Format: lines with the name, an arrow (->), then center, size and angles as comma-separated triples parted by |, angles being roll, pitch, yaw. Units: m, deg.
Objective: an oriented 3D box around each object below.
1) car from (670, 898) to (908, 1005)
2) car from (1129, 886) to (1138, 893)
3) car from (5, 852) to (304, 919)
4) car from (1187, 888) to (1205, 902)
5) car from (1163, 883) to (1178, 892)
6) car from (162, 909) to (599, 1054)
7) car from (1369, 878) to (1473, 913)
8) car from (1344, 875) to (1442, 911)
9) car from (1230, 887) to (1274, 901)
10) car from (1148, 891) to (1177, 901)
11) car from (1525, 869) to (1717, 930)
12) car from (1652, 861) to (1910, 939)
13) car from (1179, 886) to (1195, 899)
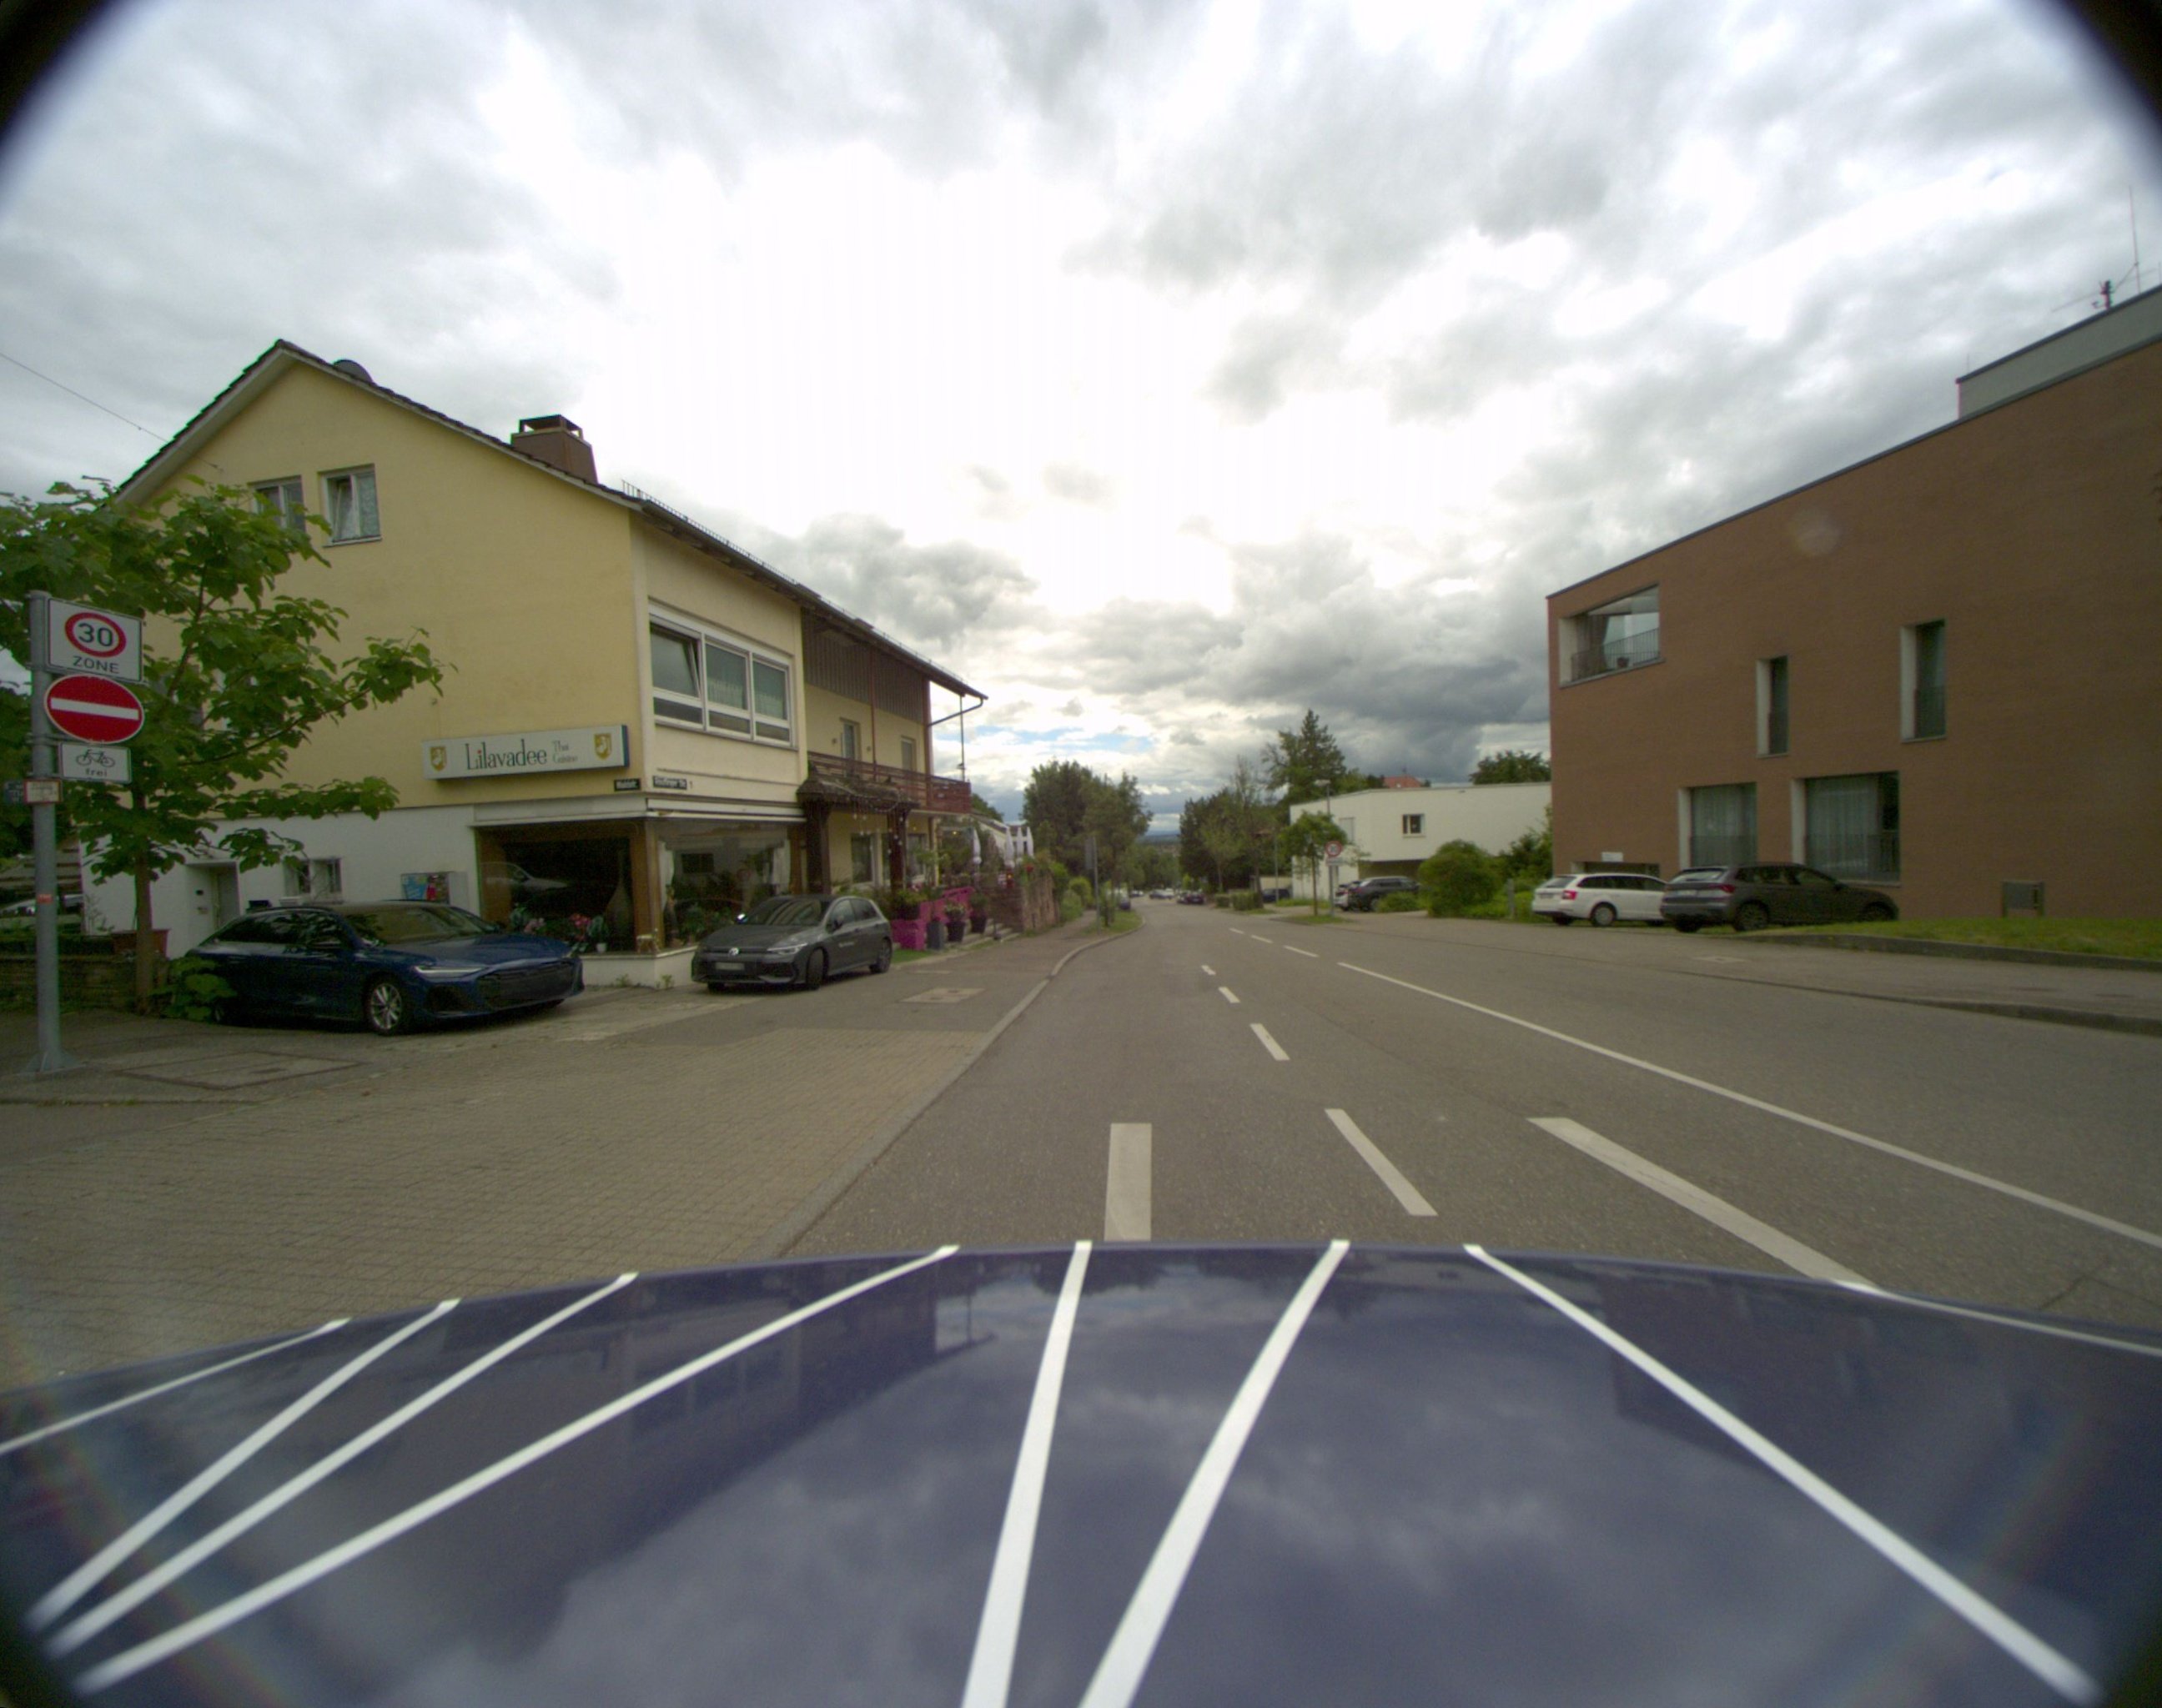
car -> -4.538, 1.482, 12.625 | 1.796, 1.452, 4.332 | -1, -4, 8
car -> 12.636, 8.596, 183.300 | 1.883, 1.412, 4.369 | -1, -1, 1
car -> -22.727, 0.834, 18.918 | 1.795, 1.452, 4.336 | -2, -4, 22
car -> 12.191, 4.309, 80.576 | 1.661, 1.412, 4.004 | -2, -3, 6
car -> 16.219, 6.085, 137.970 | 1.884, 1.412, 4.368 | -1, -1, -2
car -> -8.524, 1.421, 9.288 | 4.739, 1.378, 1.802 | -2, -1, 18
car -> 15.608, 1.902, 35.033 | 3.996, 1.476, 1.728 | -2, -3, 3
car -> 15.062, 1.900, 36.874 | 3.996, 1.585, 1.795 | -2, -3, 3
car -> 16.556, 3.893, 73.727 | 3.995, 1.278, 1.665 | -2, -3, 7
car -> 12.665, 6.478, 118.392 | 1.889, 1.412, 4.356 | 0, -1, -41
car -> 14.621, 1.221, 20.711 | 3.998, 1.476, 1.727 | -1, -3, -3
car -> 14.919, 0.977, 16.345 | 3.998, 1.476, 1.727 | -1, -3, -3
car -> 12.508, 4.565, 89.573 | 1.661, 1.412, 4.372 | -2, -3, 6
